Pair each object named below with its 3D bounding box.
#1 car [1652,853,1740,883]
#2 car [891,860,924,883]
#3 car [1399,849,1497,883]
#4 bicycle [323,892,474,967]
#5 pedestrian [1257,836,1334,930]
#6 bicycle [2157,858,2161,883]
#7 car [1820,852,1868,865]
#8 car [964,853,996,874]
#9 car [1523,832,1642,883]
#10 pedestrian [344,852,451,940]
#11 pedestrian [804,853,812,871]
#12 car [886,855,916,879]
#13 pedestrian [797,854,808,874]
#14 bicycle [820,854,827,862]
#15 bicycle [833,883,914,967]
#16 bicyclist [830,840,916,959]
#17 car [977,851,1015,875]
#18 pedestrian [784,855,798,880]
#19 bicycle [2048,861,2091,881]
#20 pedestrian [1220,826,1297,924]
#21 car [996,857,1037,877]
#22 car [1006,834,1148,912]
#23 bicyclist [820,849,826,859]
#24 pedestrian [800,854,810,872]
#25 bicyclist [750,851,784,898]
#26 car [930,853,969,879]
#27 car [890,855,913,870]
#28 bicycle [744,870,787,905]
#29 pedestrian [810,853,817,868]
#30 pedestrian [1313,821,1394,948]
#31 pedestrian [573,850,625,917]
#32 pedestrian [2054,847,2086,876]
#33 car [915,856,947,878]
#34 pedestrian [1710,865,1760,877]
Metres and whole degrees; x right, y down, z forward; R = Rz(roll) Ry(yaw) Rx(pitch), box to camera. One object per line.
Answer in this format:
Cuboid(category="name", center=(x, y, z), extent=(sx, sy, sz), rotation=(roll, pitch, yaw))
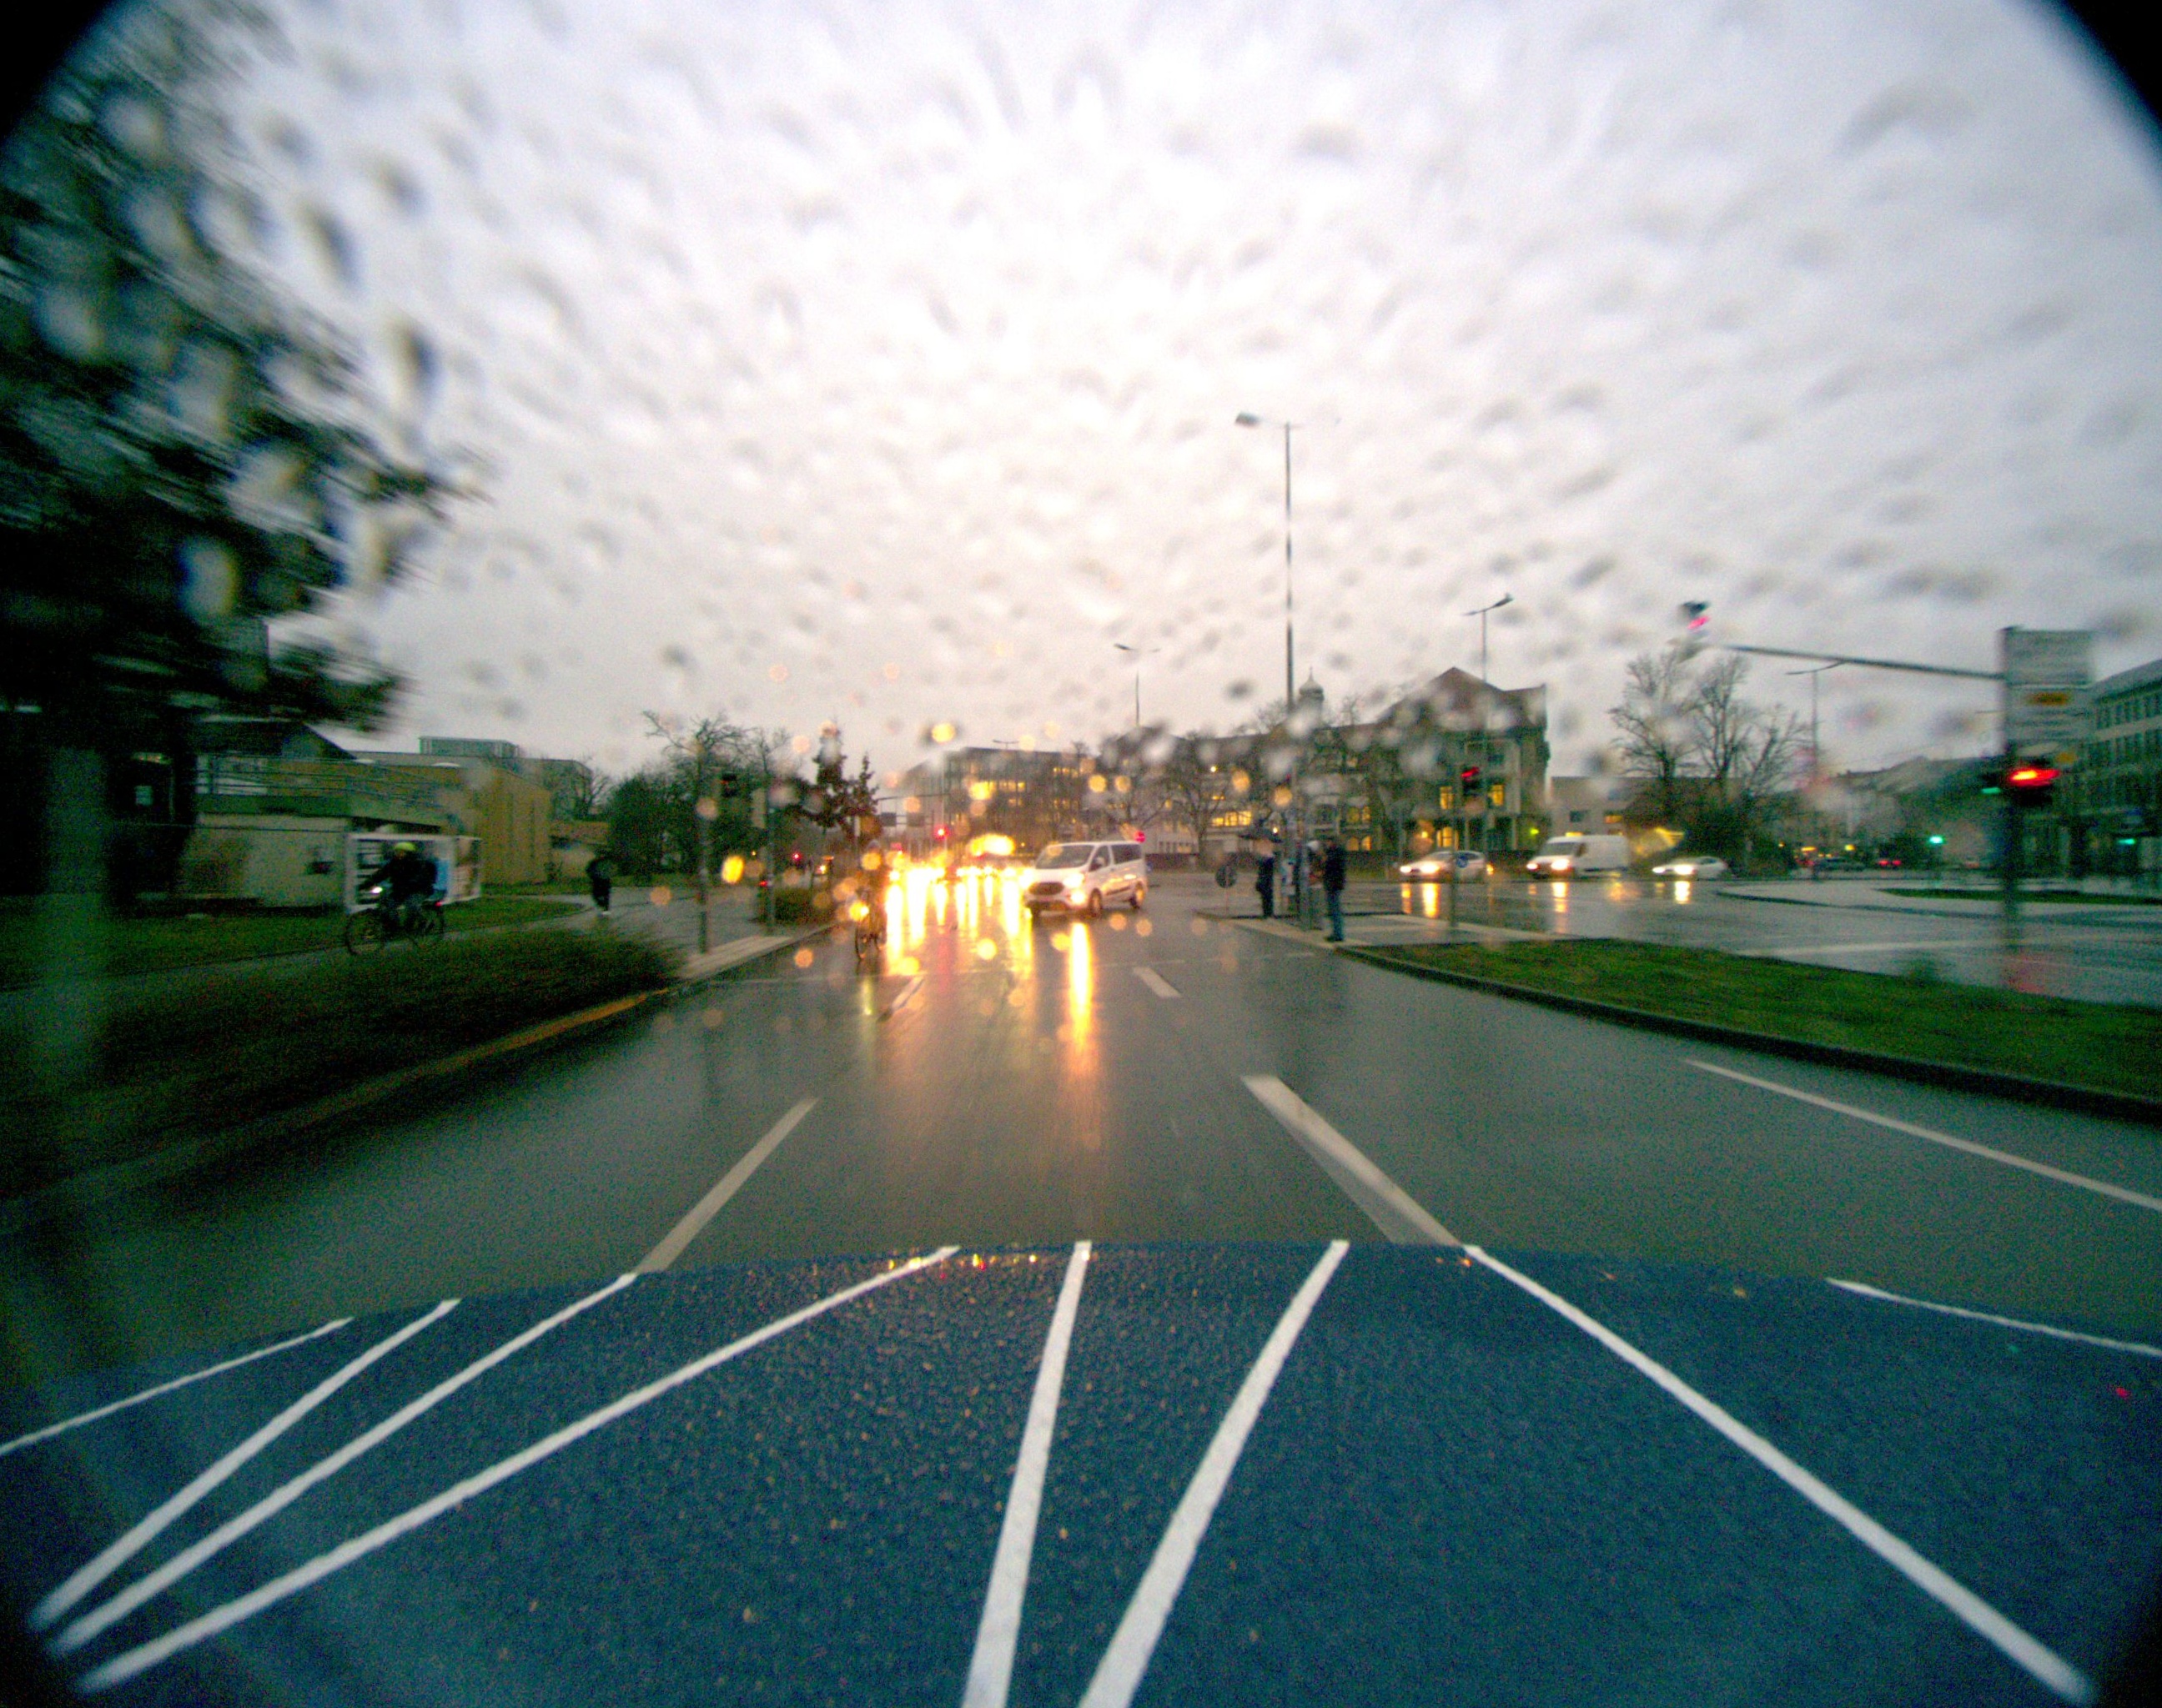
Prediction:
Cuboid(category="car", center=(35.522, 0.759, 43.871), extent=(4.822, 1.634, 1.835), rotation=(0, 0, -22))
Cuboid(category="car", center=(-12.334, 1.188, 53.723), extent=(1.776, 1.478, 4.463), rotation=(0, 0, -19))
Cuboid(category="car", center=(17.488, 0.568, 36.174), extent=(4.322, 1.494, 1.753), rotation=(0, -2, -23))
Cuboid(category="bicycle", center=(-10.504, 1.126, 11.806), extent=(0.563, 0.941, 2.094), rotation=(0, 0, -4))
Cuboid(category="pedestrian", center=(4.383, 0.595, 15.568), extent=(1.037, 1.846, 1.068), rotation=(0, -2, -35))
Cuboid(category="bicycle", center=(47.399, 0.700, 32.516), extent=(0.645, 1.097, 2.757), rotation=(-2, -3, 35))
Cuboid(category="car", center=(99.371, 0.607, 99.025), extent=(3.993, 1.739, 1.975), rotation=(0, 0, 13))
Cuboid(category="car", center=(-9.255, 0.815, 69.295), extent=(2.002, 1.739, 4.463), rotation=(2, -1, -19))
Cuboid(category="car", center=(26.486, 0.215, 40.113), extent=(5.875, 2.502, 2.344), rotation=(0, -2, -24))
Cuboid(category="pedestrian", center=(-10.509, 0.624, 11.722), extent=(0.877, 1.309, 0.848), rotation=(0, 1, -4))
Cuboid(category="pedestrian", center=(-30.089, 0.858, 83.740), extent=(0.767, 2.002, 0.909), rotation=(0, 1, -21))
Cuboid(category="car", center=(-14.333, 0.973, 60.358), extent=(2.002, 1.827, 3.994), rotation=(0, 0, -18))
Cuboid(category="pedestrian", center=(-25.459, 0.911, 69.473), extent=(0.934, 1.815, 0.832), rotation=(0, 1, -20))
Cuboid(category="bicycle", center=(-35.016, 0.550, 103.278), extent=(0.795, 1.009, 2.899), rotation=(0, -1, -19))
Cuboid(category="bicycle", center=(-3.448, 1.148, 12.811), extent=(0.794, 1.215, 1.904), rotation=(-2, 0, 0))
Cuboid(category="bicyclist", center=(-3.457, 0.724, 12.754), extent=(1.026, 1.872, 1.236), rotation=(-2, 0, 0))
Cuboid(category="car", center=(-7.144, 0.744, 63.515), extent=(2.003, 1.739, 4.463), rotation=(7, -2, -19))
Cuboid(category="pedestrian", center=(-21.043, 0.995, 55.089), extent=(0.934, 1.815, 0.832), rotation=(0, 1, -20))
Cuboid(category="bicycle", center=(60.267, 1.034, 46.320), extent=(1.872, 1.169, 0.624), rotation=(1, 2, -5))
Cuboid(category="pedestrian", center=(3.869, 0.469, 16.612), extent=(1.217, 2.037, 1.033), rotation=(0, -2, -32))
Cuboid(category="car", center=(-4.788, 0.952, 55.956), extent=(1.934, 1.368, 4.490), rotation=(0, 0, -19))
Cuboid(category="car", center=(0.067, 0.570, 21.165), extent=(2.133, 1.909, 5.027), rotation=(-2, -2, 23))
Cuboid(category="bicyclist", center=(-35.036, -0.001, 103.318), extent=(0.768, 1.481, 0.992), rotation=(0, 1, -19))
Cuboid(category="pedestrian", center=(-27.919, 0.919, 76.956), extent=(0.934, 1.815, 0.832), rotation=(0, 1, -20))
Cuboid(category="bicyclist", center=(-11.154, 0.708, 27.002), extent=(0.806, 1.608, 1.085), rotation=(3, 0, -7))
Cuboid(category="car", center=(-9.638, 0.841, 55.217), extent=(2.002, 1.739, 4.937), rotation=(0, 0, -19))
Cuboid(category="car", center=(-20.033, 0.886, 84.819), extent=(2.002, 1.558, 4.753), rotation=(1, 0, -19))
Cuboid(category="bicycle", center=(-11.168, 1.153, 26.947), extent=(0.806, 1.135, 2.212), rotation=(3, -1, -7))
Cuboid(category="pedestrian", center=(-35.351, 0.892, 100.374), extent=(0.767, 2.002, 0.771), rotation=(0, 1, -21))
Cuboid(category="pedestrian", center=(4.476, 0.508, 12.549), extent=(0.848, 1.993, 1.109), rotation=(-1, -2, -3))
Cuboid(category="pedestrian", center=(-12.348, 0.761, 19.497), extent=(0.913, 1.677, 0.926), rotation=(1, -2, -19))
Cuboid(category="pedestrian", center=(60.252, 0.454, 46.289), extent=(0.982, 1.724, 0.717), rotation=(1, 1, -5))
Cuboid(category="car", center=(-12.609, 1.064, 63.572), extent=(2.002, 1.739, 4.463), rotation=(0, 0, -19))
Cuboid(category="pedestrian", center=(55.066, 1.423, 63.988), extent=(3.091, 0.924, 0.951), rotation=(-3, -3, 37))
